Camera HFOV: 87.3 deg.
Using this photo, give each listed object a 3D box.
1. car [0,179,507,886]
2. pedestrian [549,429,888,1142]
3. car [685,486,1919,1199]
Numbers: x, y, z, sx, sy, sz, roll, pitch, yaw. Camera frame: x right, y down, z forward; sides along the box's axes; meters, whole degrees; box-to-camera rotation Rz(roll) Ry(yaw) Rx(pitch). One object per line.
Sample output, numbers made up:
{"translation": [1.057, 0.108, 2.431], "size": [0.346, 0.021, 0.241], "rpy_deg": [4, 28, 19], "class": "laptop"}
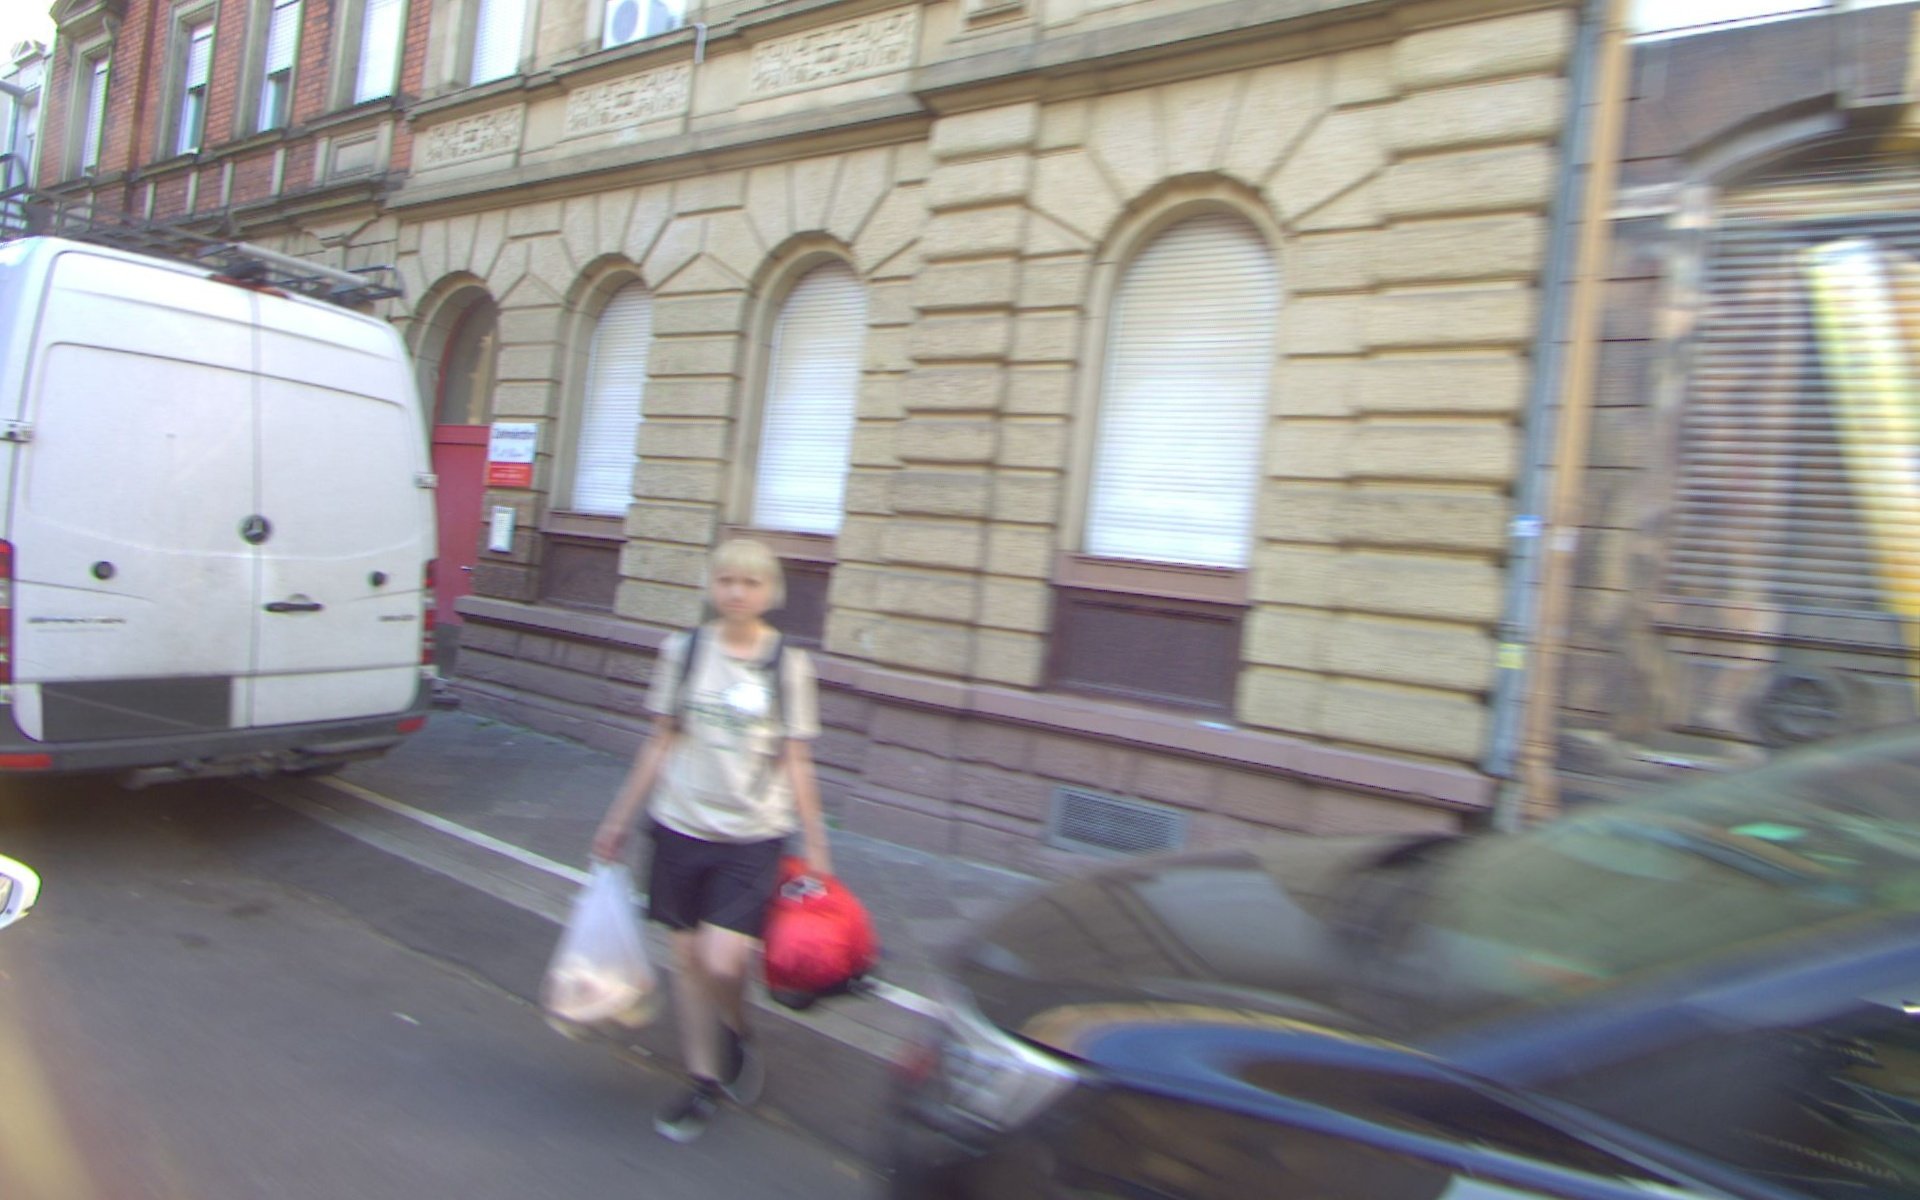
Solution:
{"translation": [-5.590, -0.428, 6.089], "size": [5.790, 2.642, 2.071], "rpy_deg": [7, -1, 32], "class": "car"}
{"translation": [-0.677, 0.505, 2.949], "size": [0.631, 1.792, 0.678], "rpy_deg": [8, -1, -11], "class": "pedestrian"}
{"translation": [1.656, 0.906, 1.336], "size": [3.859, 1.662, 1.690], "rpy_deg": [7, -1, 32], "class": "car"}
